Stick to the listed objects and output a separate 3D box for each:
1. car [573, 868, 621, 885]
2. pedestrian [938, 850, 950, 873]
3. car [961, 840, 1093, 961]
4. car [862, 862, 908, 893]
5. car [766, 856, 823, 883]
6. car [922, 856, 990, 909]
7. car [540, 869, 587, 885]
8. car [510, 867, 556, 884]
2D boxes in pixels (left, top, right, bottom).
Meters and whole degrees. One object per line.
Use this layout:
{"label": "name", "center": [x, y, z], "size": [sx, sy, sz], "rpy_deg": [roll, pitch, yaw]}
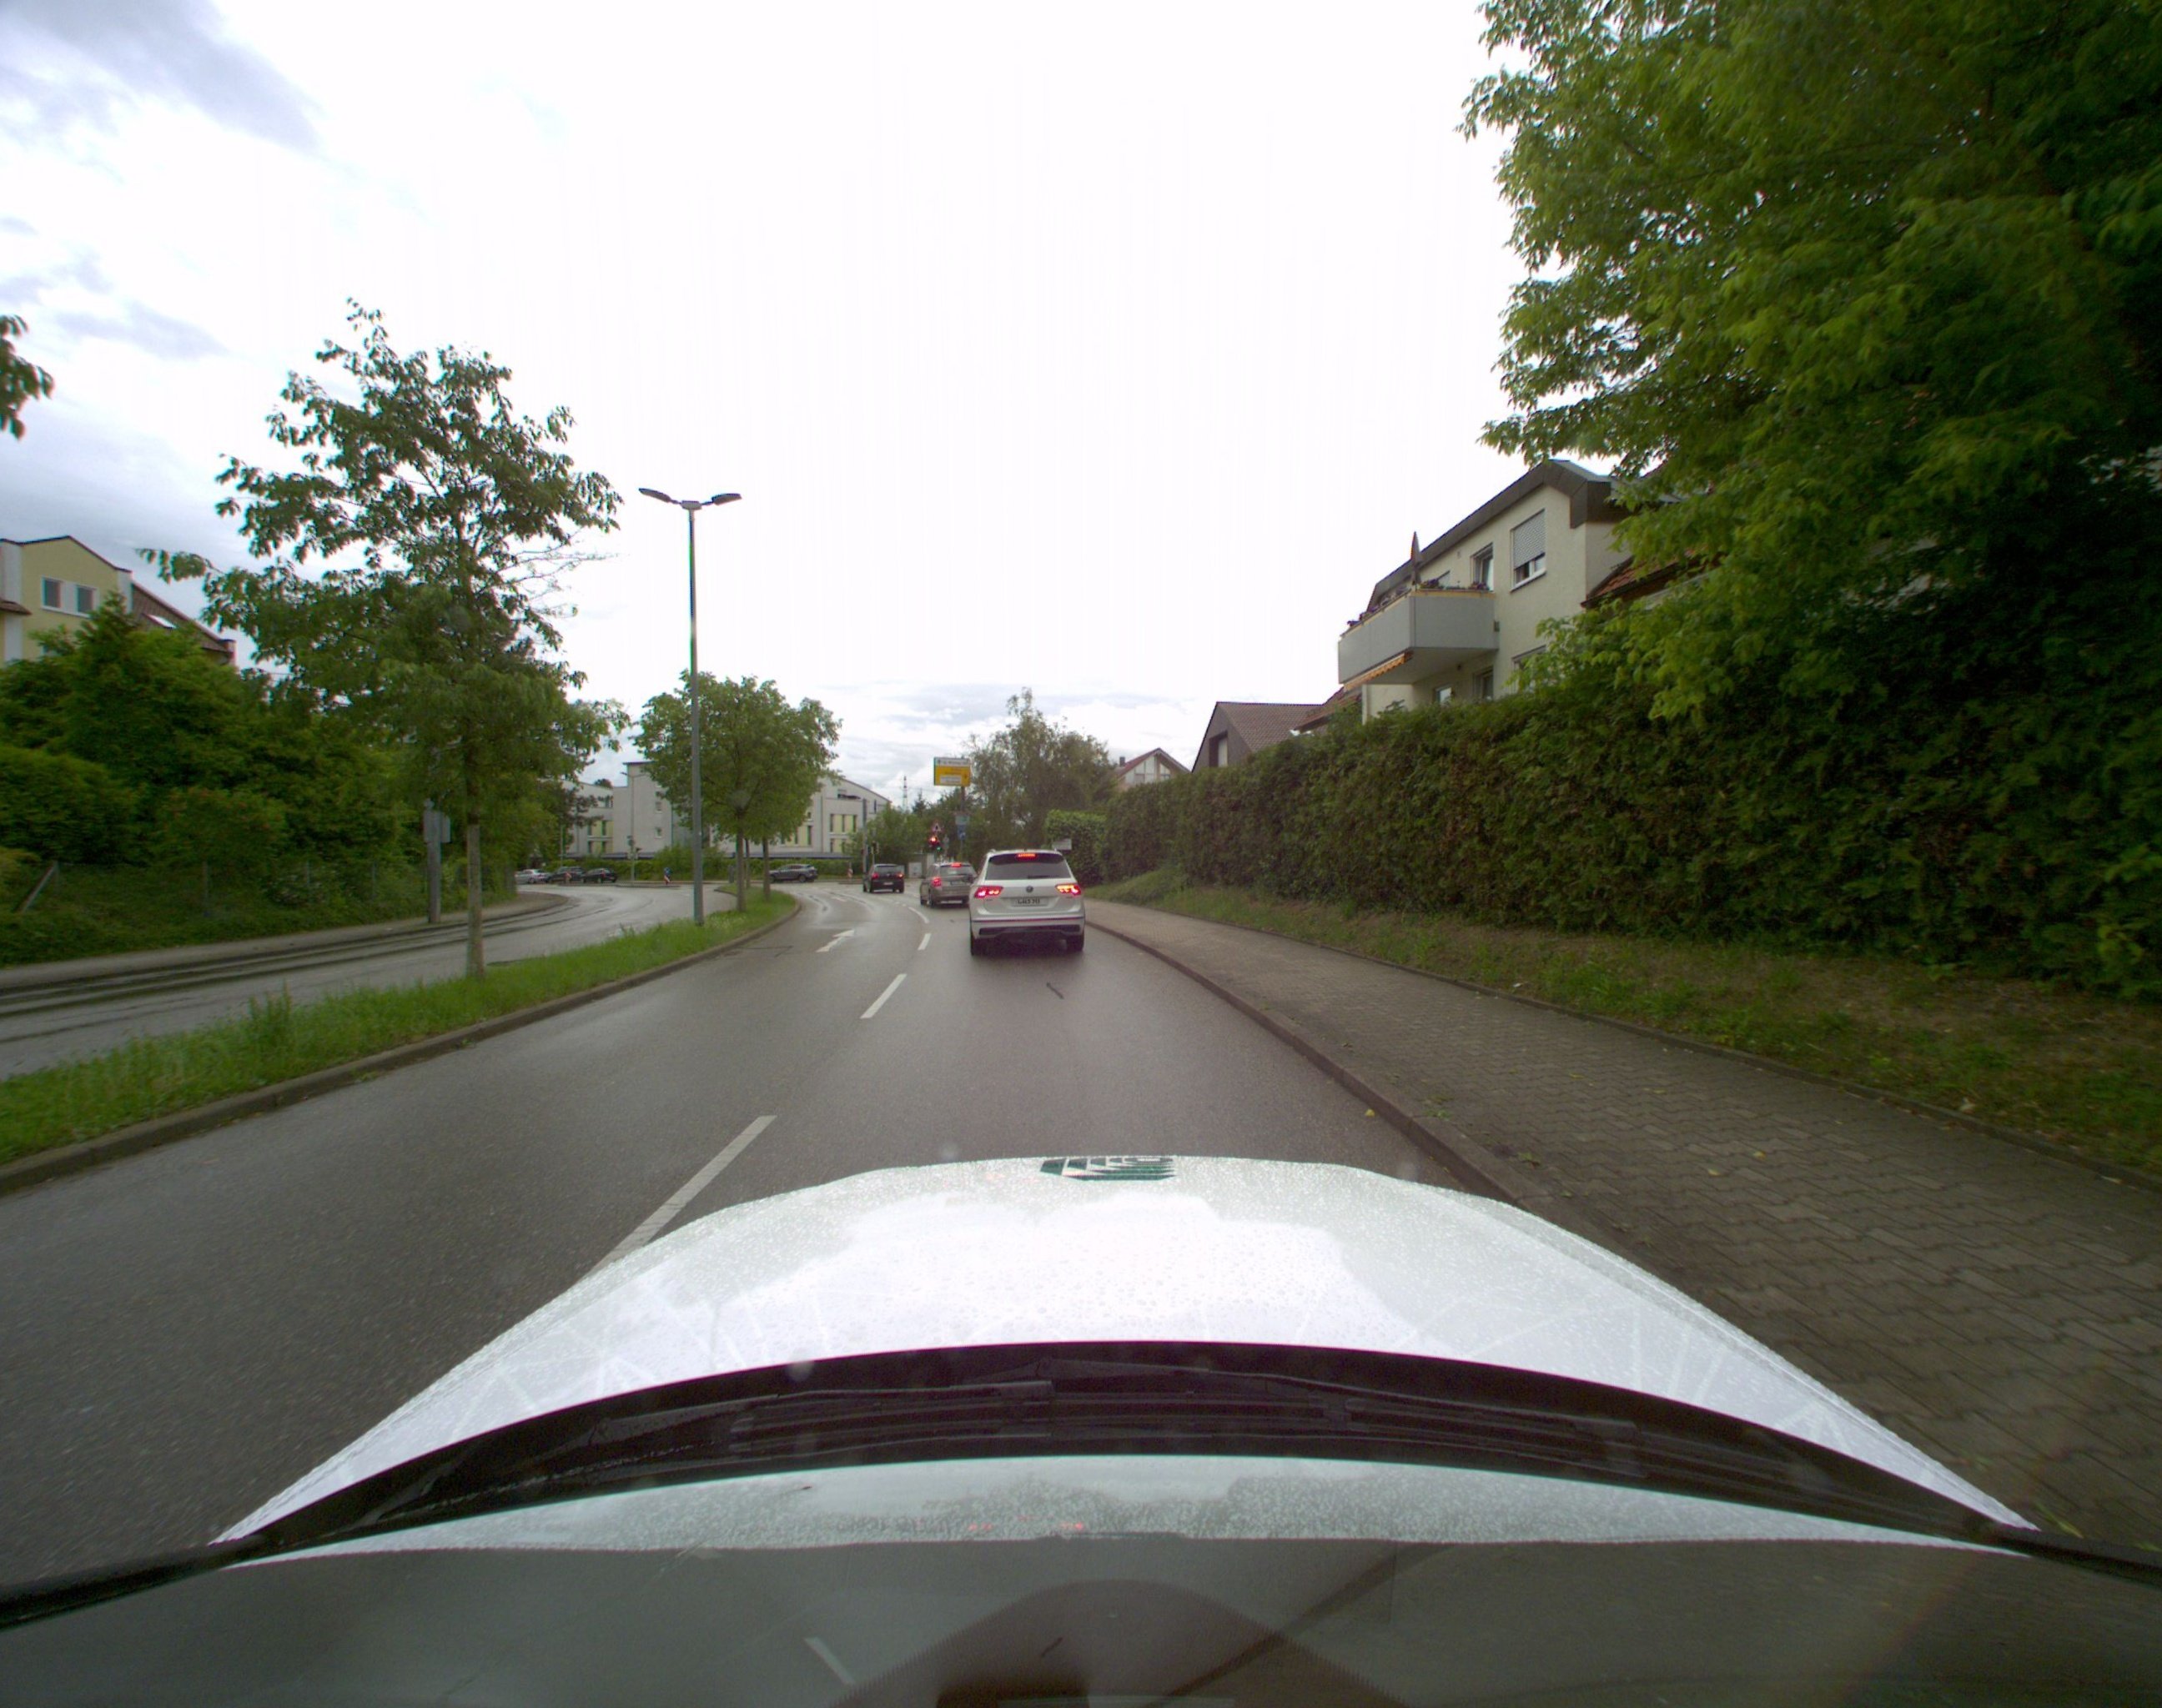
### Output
{"label": "car", "center": [-47.400, 2.180, 79.746], "size": [3.952, 1.555, 2.011], "rpy_deg": [-1, 1, 23]}
{"label": "pedestrian", "center": [-12.357, 0.702, 73.670], "size": [0.803, 2.013, 0.842], "rpy_deg": [-3, 3, -27]}
{"label": "car", "center": [-1.047, 0.689, 14.251], "size": [1.919, 1.722, 4.254], "rpy_deg": [-2, 0, -7]}
{"label": "car", "center": [-10.229, 1.214, 42.333], "size": [1.857, 1.429, 3.972], "rpy_deg": [-1, -1, -20]}
{"label": "car", "center": [-24.168, 1.275, 68.749], "size": [3.974, 2.013, 1.981], "rpy_deg": [2, 1, 0]}
{"label": "car", "center": [-4.280, 0.905, 27.414], "size": [1.768, 1.509, 3.980], "rpy_deg": [2, 1, -15]}
{"label": "car", "center": [-51.679, 2.272, 81.333], "size": [3.952, 1.556, 2.011], "rpy_deg": [-1, -1, 23]}
{"label": "car", "center": [-55.855, 2.190, 83.052], "size": [3.952, 1.555, 2.011], "rpy_deg": [2, 0, 23]}
